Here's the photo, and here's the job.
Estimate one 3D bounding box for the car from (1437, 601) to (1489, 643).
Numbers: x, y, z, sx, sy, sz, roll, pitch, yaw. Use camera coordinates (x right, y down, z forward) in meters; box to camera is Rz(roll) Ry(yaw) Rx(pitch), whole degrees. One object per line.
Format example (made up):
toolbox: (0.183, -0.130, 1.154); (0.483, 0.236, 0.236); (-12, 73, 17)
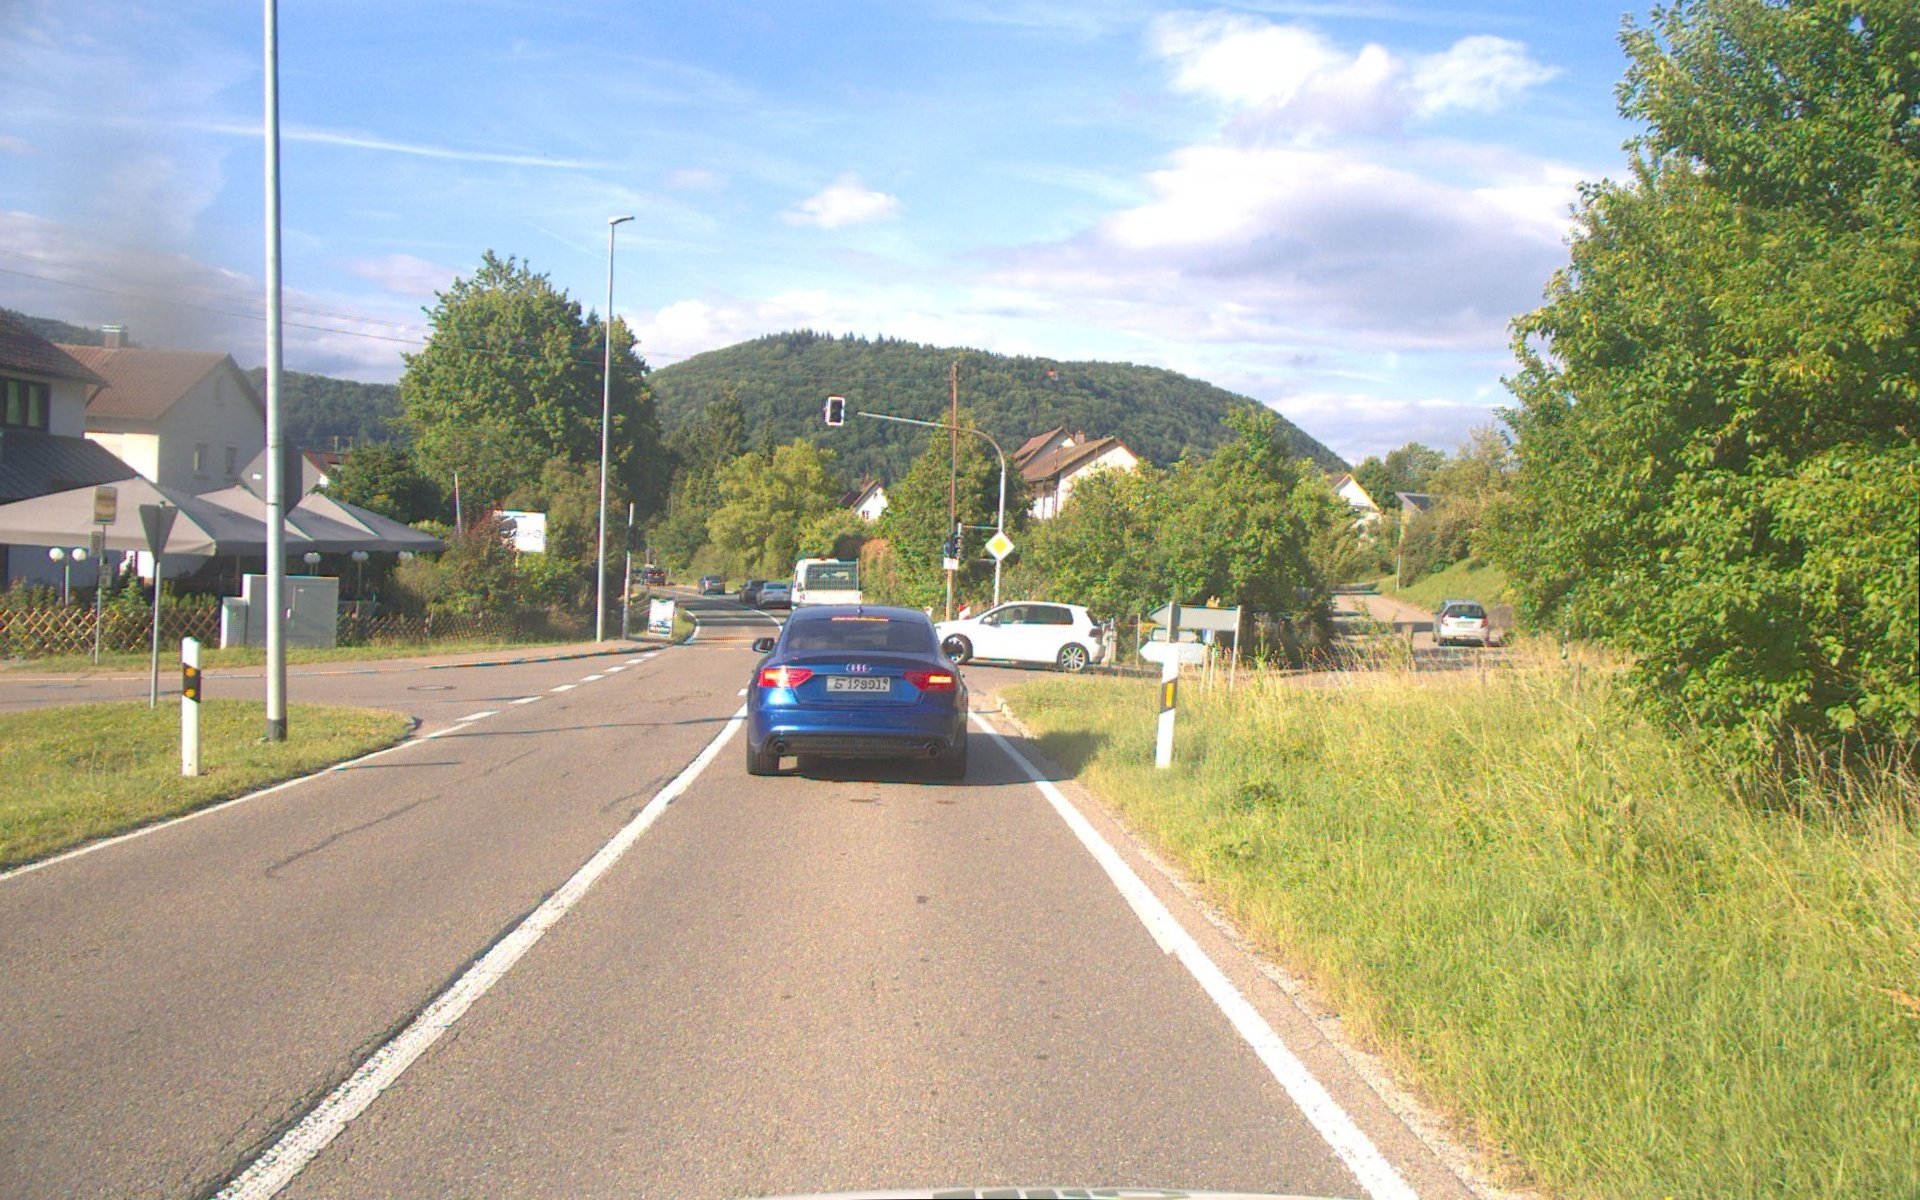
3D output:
car: (17.980, 0.782, 59.233); (1.589, 1.414, 4.003); (1, -1, 15)

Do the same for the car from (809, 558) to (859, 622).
car: (-4.553, -0.330, 60.186); (1.711, 2.234, 3.997); (1, -1, -4)

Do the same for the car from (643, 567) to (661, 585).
car: (-29.251, -2.276, 157.079); (1.596, 1.604, 3.671); (1, -1, -9)

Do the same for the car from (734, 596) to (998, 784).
car: (-0.663, 0.695, 14.446); (1.757, 1.412, 4.002); (0, -1, 5)

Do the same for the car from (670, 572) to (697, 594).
car: (-19.742, -1.210, 118.175); (1.665, 1.516, 3.522); (1, -1, -6)

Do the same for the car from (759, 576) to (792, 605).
car: (-10.199, -0.491, 91.362); (1.666, 1.516, 3.520); (1, -1, -9)

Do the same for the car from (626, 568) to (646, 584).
car: (-32.760, -2.399, 167.498); (1.656, 1.463, 3.665); (1, -1, -7)

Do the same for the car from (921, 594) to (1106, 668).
car: (1.211, 0.672, 36.570); (3.959, 1.534, 1.856); (1, -1, 4)

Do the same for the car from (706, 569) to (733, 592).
car: (-18.218, -1.477, 125.305); (1.787, 1.601, 3.996); (1, -1, -5)

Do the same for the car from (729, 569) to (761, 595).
car: (-13.352, -1.095, 102.798); (1.668, 1.516, 3.516); (1, -1, -12)

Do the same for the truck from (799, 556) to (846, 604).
truck: (-6.146, -0.847, 73.435); (1.666, 1.988, 5.910); (1, -1, -8)
